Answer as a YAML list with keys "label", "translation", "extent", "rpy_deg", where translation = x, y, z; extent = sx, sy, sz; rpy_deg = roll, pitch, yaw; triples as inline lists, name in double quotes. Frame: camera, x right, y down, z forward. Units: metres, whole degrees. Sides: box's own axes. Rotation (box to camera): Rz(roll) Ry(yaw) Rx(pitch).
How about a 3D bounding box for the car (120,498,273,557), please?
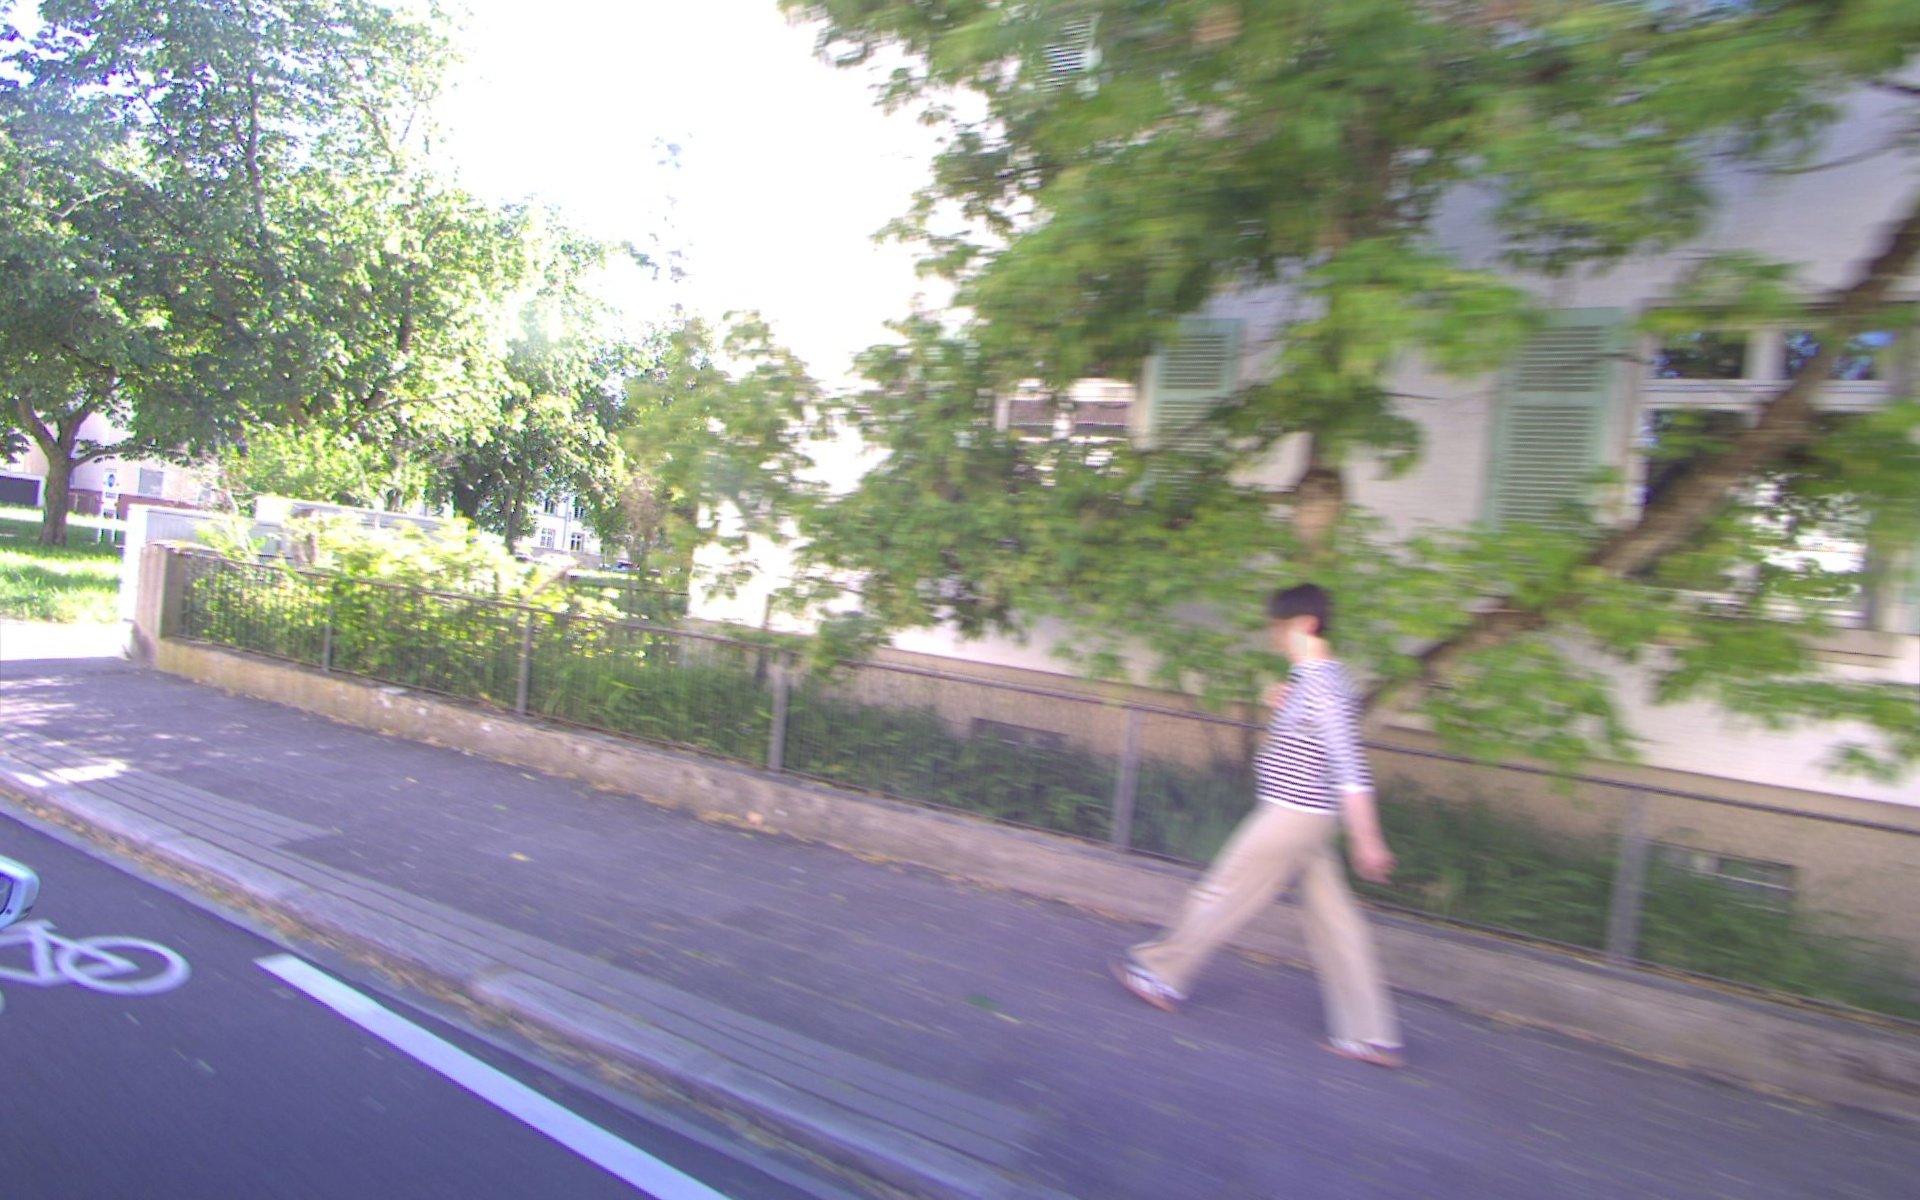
- label: "car"
  translation: [-26.121, -2.458, 34.562]
  extent: [1.713, 1.459, 3.809]
  rpy_deg: [7, 0, 19]

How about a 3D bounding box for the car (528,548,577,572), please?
- label: "car"
  translation: [-38.921, -3.813, 96.149]
  extent: [1.730, 1.838, 4.105]
  rpy_deg: [7, 0, 28]

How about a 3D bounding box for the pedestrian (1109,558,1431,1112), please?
- label: "pedestrian"
  translation: [1.151, 0.760, 3.703]
  extent: [0.854, 1.710, 0.719]
  rpy_deg: [7, 2, 24]
